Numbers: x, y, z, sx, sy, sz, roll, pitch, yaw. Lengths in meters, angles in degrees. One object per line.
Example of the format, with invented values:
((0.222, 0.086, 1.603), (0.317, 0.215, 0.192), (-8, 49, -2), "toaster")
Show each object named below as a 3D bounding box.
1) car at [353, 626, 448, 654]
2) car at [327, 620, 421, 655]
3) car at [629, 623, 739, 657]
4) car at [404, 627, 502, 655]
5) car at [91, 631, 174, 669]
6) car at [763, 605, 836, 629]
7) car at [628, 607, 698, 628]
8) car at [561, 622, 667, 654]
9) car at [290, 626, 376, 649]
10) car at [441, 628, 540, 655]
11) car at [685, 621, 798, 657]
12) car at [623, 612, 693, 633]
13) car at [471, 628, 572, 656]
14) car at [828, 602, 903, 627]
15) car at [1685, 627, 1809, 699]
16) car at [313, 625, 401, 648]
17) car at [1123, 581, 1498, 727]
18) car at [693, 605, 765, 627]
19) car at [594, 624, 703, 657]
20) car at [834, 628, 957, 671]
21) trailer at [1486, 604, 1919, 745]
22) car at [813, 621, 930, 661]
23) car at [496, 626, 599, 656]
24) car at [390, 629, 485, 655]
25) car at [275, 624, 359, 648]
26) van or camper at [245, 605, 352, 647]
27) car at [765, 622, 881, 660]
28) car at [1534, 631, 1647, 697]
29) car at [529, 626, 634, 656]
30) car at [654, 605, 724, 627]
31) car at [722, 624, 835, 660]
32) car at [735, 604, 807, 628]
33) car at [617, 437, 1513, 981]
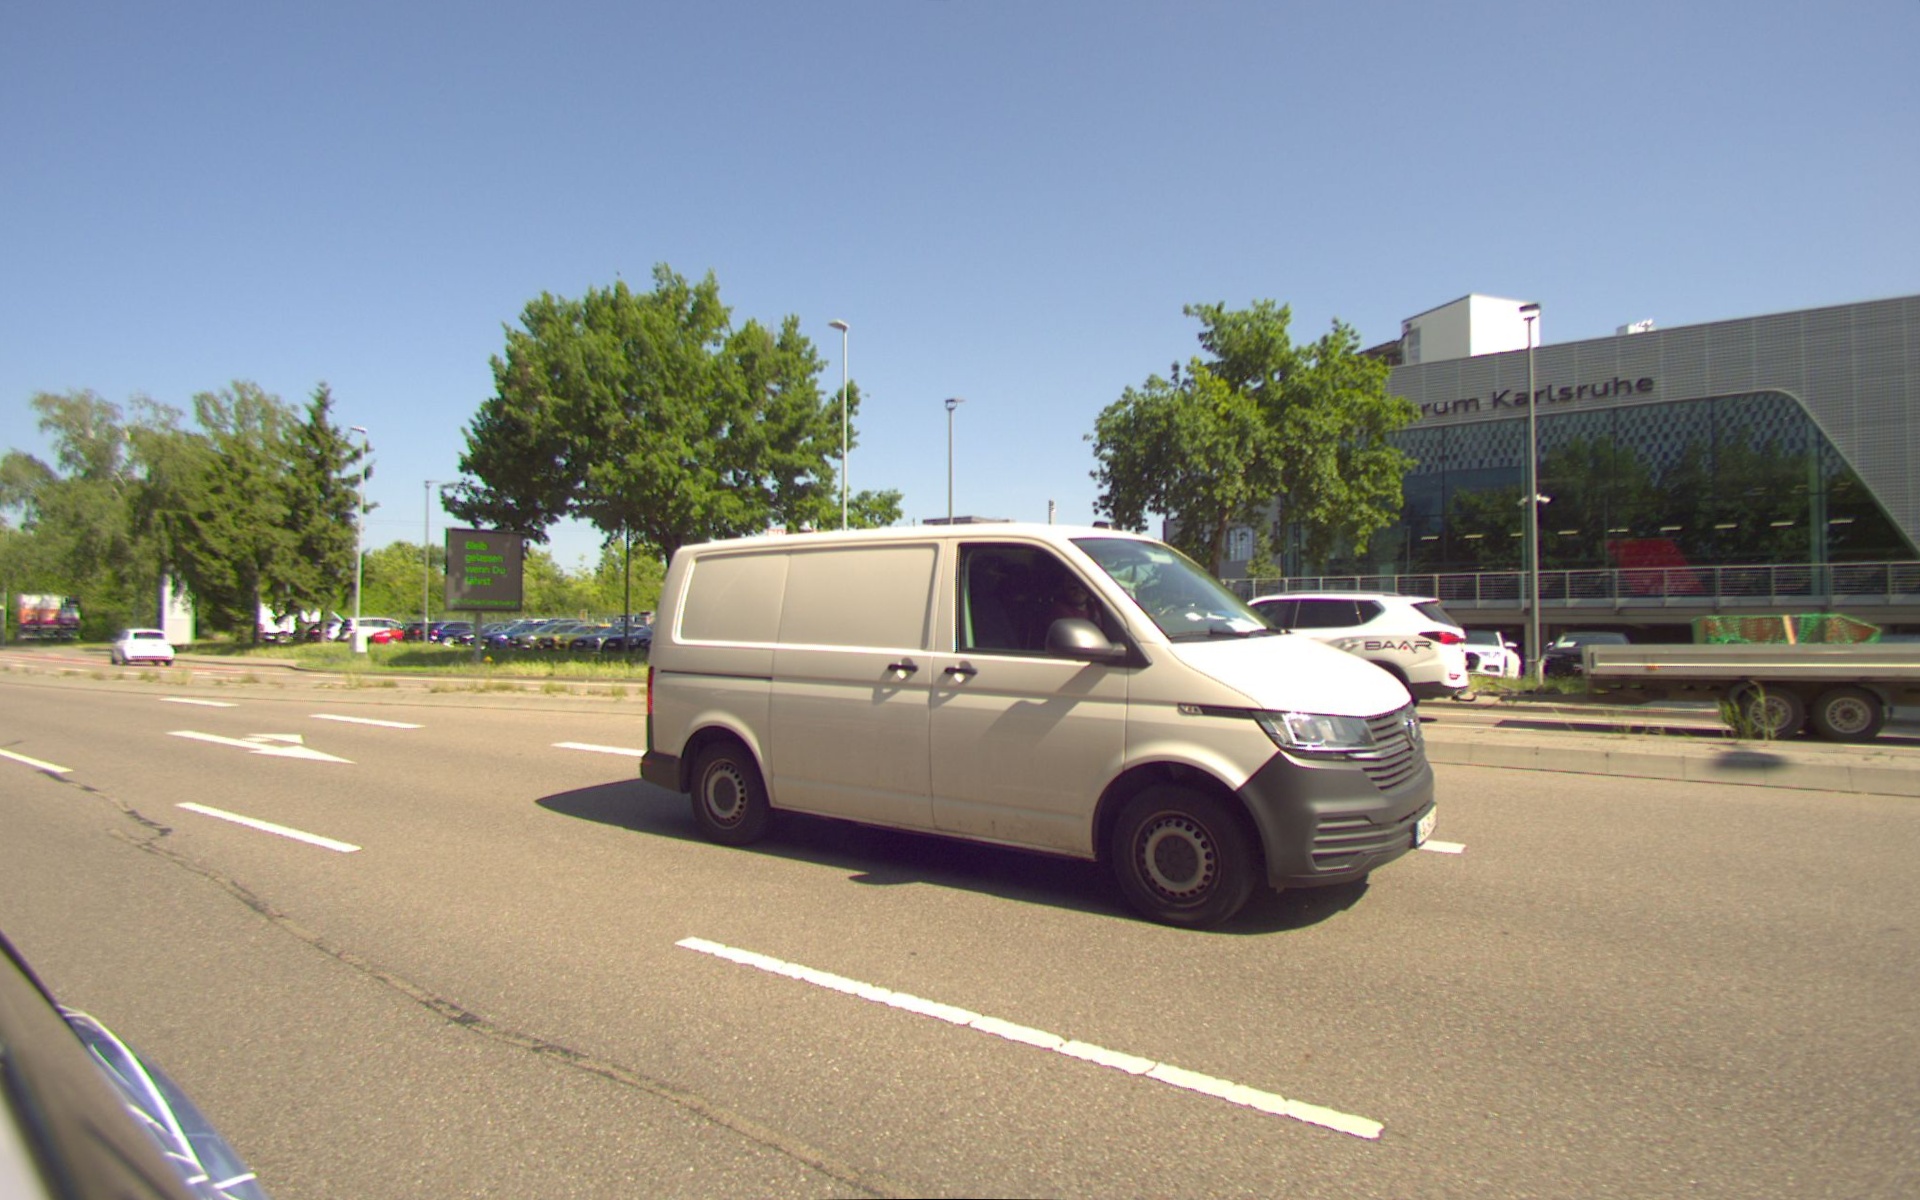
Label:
((-31.243, 2.229, 56.642), (1.951, 1.515, 4.225), (-2, -3, 38), "car")
((-33.356, 2.149, 57.683), (1.951, 1.899, 4.225), (-2, -3, 38), "car")
((-11.696, 1.681, 43.144), (1.951, 1.361, 4.225), (-2, -3, 38), "car")
((-26.602, 2.130, 53.200), (1.951, 1.392, 4.225), (-2, -3, 38), "car")
((-33.990, 2.041, 41.563), (3.540, 1.475, 1.640), (-1, -4, 34), "car")
((-9.665, 1.037, 61.200), (1.950, 1.361, 4.227), (-1, -2, 37), "car")
((-20.001, 1.222, 68.325), (1.950, 1.361, 4.227), (-1, -2, 37), "car")
((-15.725, 1.727, 46.124), (1.951, 1.361, 4.225), (-2, -3, 38), "car")
((-37.662, 2.247, 60.856), (1.743, 1.364, 4.044), (-1, -2, 41), "car")
((-24.145, 2.120, 52.150), (1.951, 1.361, 4.225), (-2, -3, 38), "car")
((-8.846, 1.577, 41.213), (1.951, 1.361, 4.225), (-2, -3, 38), "car")
((-20.417, 1.524, 68.524), (1.950, 1.361, 4.227), (-1, -2, 37), "car")
((-21.838, 2.073, 50.505), (1.951, 1.361, 4.225), (-2, -3, 38), "car")
((-5.364, 0.871, 57.970), (1.950, 1.361, 4.227), (-1, -2, 37), "car")
((16.730, 1.285, 21.676), (1.920, 1.386, 3.951), (-1, -3, 36), "car")
((-35.200, 2.151, 59.121), (1.741, 1.303, 4.048), (-2, -3, 38), "car")
((5.100, 0.759, 15.043), (4.924, 1.847, 1.977), (-1, -3, 34), "car")
((-14.767, 1.054, 64.886), (1.950, 1.361, 4.227), (-1, -2, 37), "car")
((-13.550, 1.771, 44.209), (1.951, 1.361, 4.225), (-2, -3, 38), "car")
((-2.160, 1.669, 34.830), (1.951, 1.361, 4.225), (-2, -3, 38), "car")
((9.572, 0.825, 11.976), (5.757, 1.464, 1.977), (-1, -3, 34), "trailer")
((-3.197, 1.496, 37.197), (1.951, 1.361, 4.225), (-2, -3, 38), "car")
((-19.899, 1.975, 48.971), (1.951, 1.361, 4.225), (-2, -3, 38), "car")
((-28.507, 2.270, 55.321), (1.951, 1.338, 4.225), (-2, -3, 38), "car")
((-39.554, 2.216, 62.336), (1.743, 1.450, 4.044), (-2, -3, 41), "car")
((-42.393, 1.615, 64.982), (1.995, 2.489, 5.334), (-3, -1, 34), "van or camper")
((-5.161, 1.559, 38.550), (1.951, 1.361, 4.225), (-2, -3, 38), "car")
((14.615, 1.421, 23.364), (1.920, 1.386, 3.951), (-1, -3, 36), "car")
((-17.744, 1.913, 47.544), (1.951, 1.361, 4.225), (-2, -3, 38), "car")
((-17.881, 1.104, 66.915), (1.950, 1.361, 4.227), (-1, -2, 37), "car")
((-7.132, 1.654, 40.088), (1.951, 1.361, 4.225), (-2, -3, 38), "car")
((-11.711, 1.026, 63.050), (1.950, 1.361, 4.227), (-1, -2, 37), "car")
((0.319, 0.477, 5.959), (4.963, 2.009, 1.865), (-2, -3, 35), "car")
